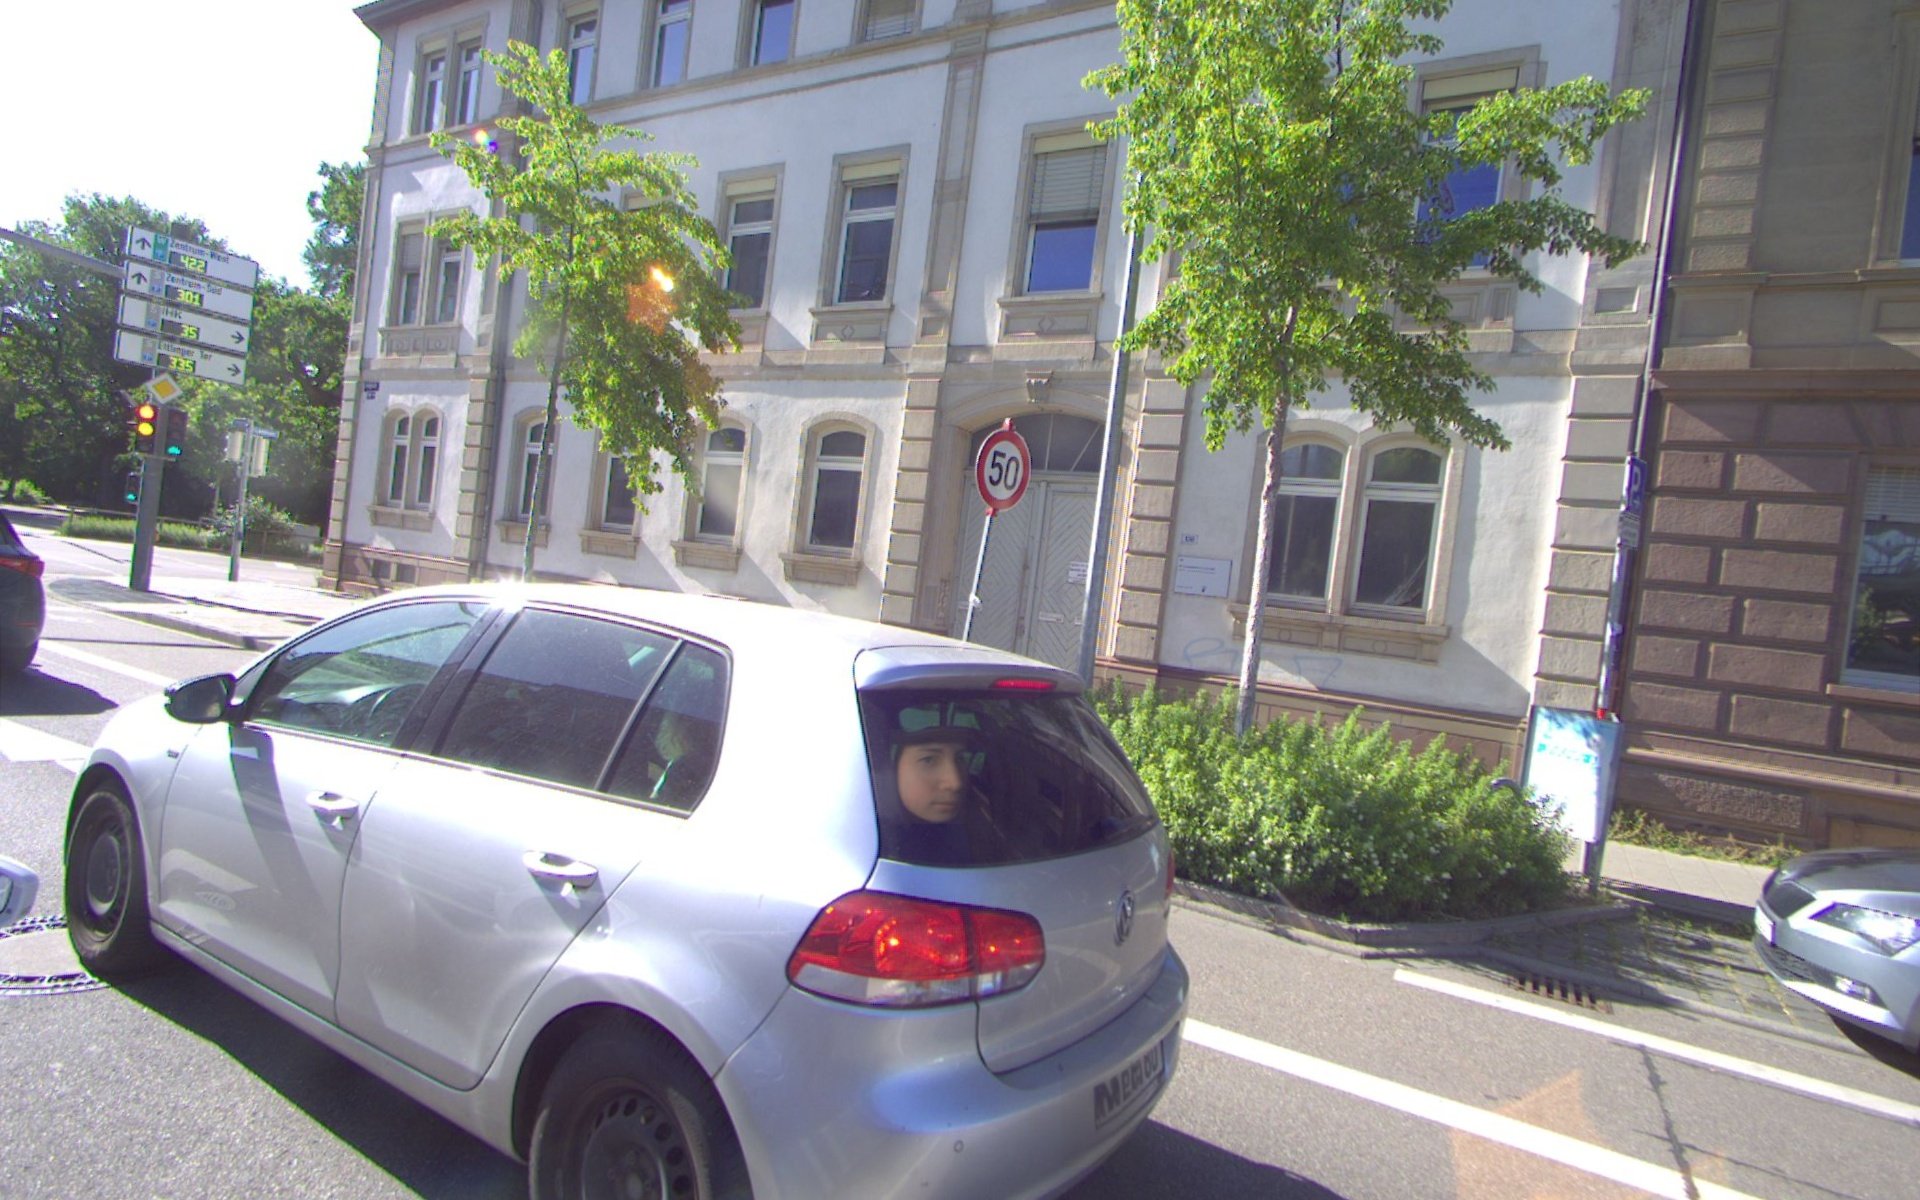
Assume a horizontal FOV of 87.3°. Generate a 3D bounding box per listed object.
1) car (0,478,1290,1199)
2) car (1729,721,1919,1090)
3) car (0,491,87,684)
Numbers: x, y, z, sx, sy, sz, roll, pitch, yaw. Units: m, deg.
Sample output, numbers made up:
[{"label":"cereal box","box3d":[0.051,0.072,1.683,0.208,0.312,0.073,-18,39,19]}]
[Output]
[{"label":"car","box3d":[-1.226,0.625,3.284,3.938,1.545,1.752,7,-1,32]},{"label":"car","box3d":[6.412,1.713,4.326,4.622,1.495,1.648,7,3,31]},{"label":"car","box3d":[-9.080,-0.327,8.144,3.784,1.444,1.796,7,-1,30]}]
